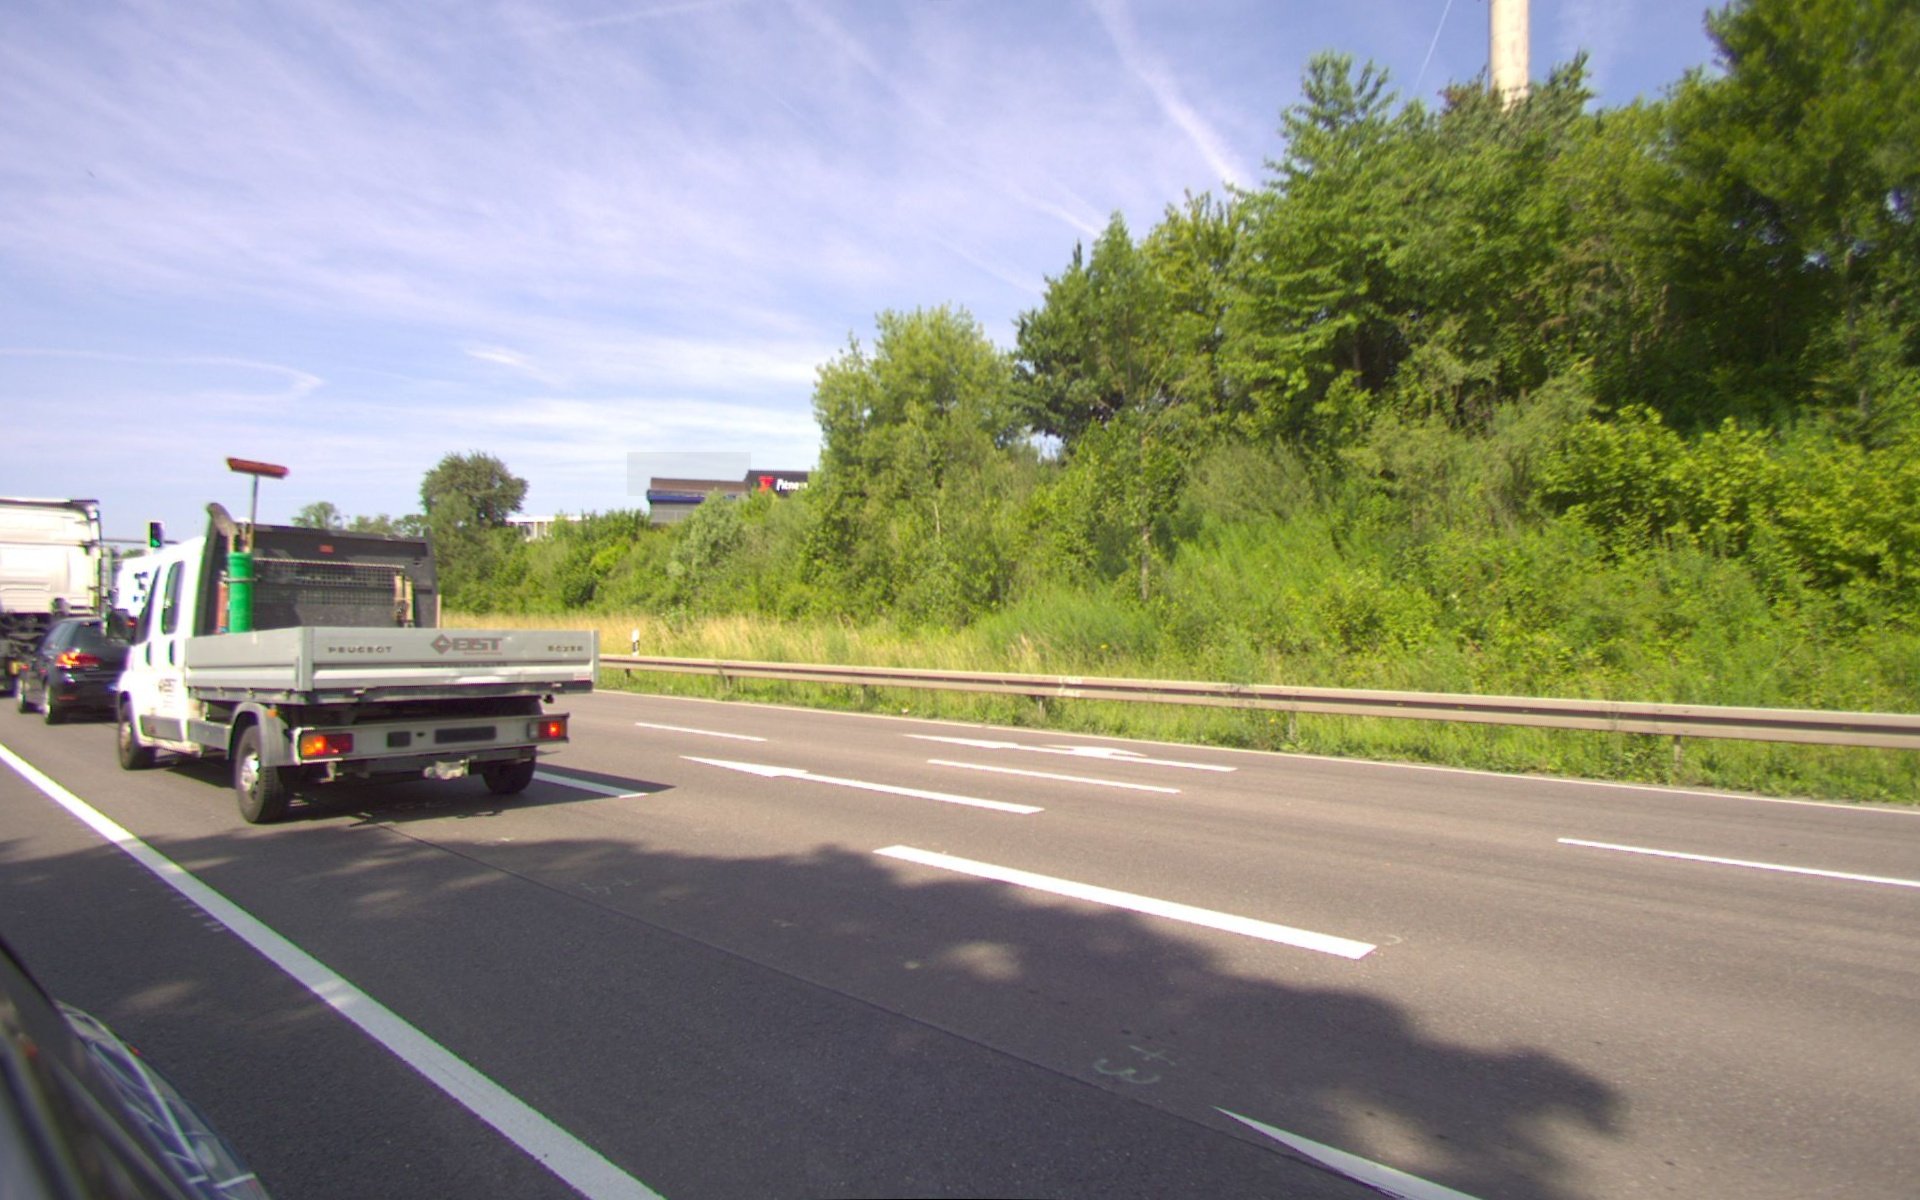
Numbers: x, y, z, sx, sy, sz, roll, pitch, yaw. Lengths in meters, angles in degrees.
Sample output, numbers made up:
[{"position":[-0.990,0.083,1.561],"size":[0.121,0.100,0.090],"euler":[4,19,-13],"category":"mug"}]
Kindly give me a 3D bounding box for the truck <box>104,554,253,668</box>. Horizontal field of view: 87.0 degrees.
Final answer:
[{"position":[-31.771,0.476,40.953],"size":[9.676,4.147,2.800],"euler":[-1,-2,41],"category":"truck"}]

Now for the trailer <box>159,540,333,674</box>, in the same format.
[{"position":[-24.797,0.276,34.945],"size":[8.750,4.100,2.811],"euler":[-1,-2,41],"category":"trailer"}]

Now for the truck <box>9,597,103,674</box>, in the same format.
[{"position":[-51.006,1.928,56.999],"size":[9.614,4.029,2.701],"euler":[-1,-2,41],"category":"truck"}]

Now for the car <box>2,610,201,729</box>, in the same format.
[{"position":[-13.058,0.956,15.315],"size":[4.107,1.563,1.693],"euler":[-1,-2,41],"category":"car"}]

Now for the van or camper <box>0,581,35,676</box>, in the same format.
[{"position":[-29.471,0.821,29.766],"size":[6.971,2.620,2.307],"euler":[-1,-2,39],"category":"van or camper"}]

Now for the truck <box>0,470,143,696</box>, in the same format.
[{"position":[-19.341,-0.265,21.006],"size":[6.261,4.119,2.511],"euler":[-1,-2,40],"category":"truck"}]

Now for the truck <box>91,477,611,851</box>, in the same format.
[{"position":[-5.861,0.441,9.184],"size":[6.497,2.285,2.203],"euler":[-1,-2,42],"category":"truck"}]
